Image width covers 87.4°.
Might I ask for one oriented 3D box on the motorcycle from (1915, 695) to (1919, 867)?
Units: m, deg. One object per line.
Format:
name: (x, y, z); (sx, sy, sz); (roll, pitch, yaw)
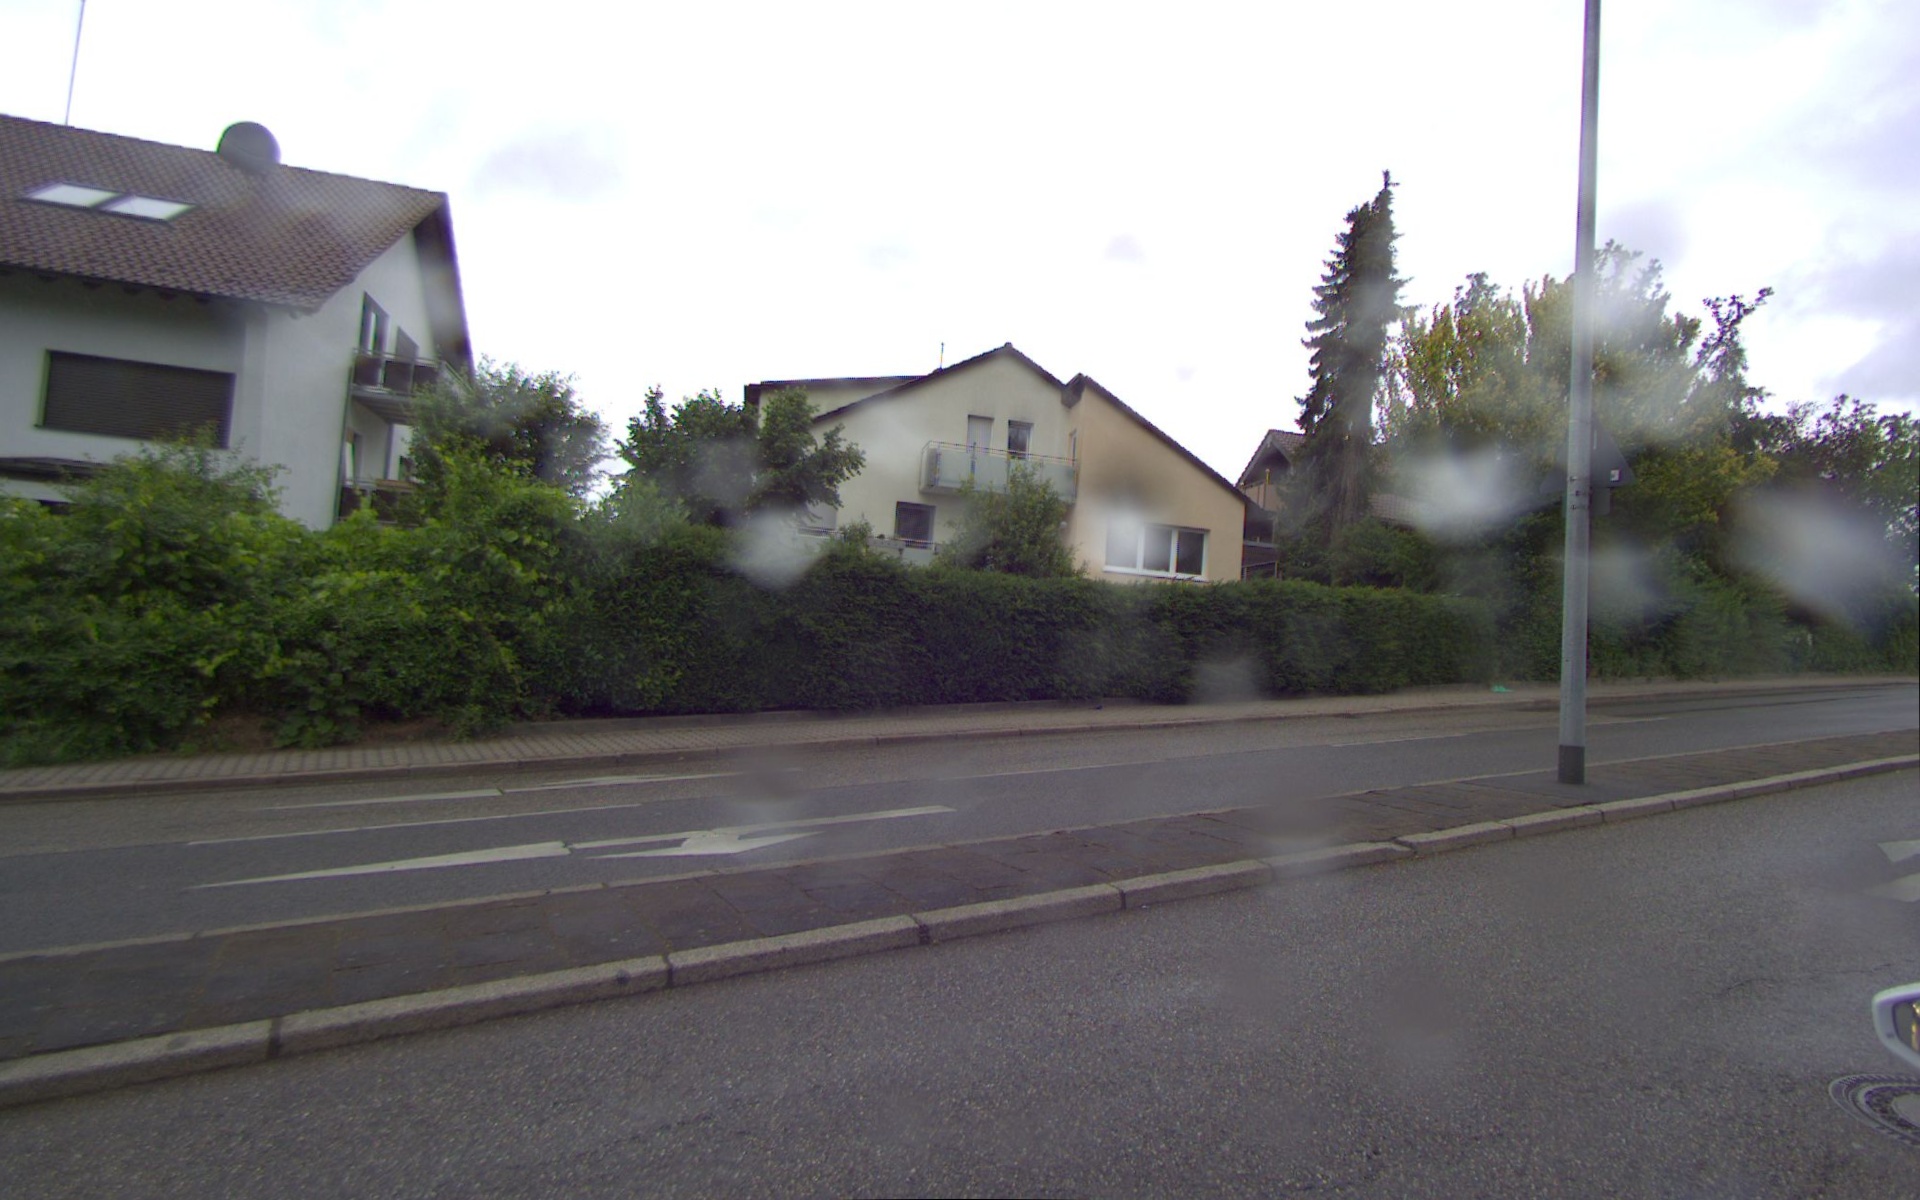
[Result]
motorcycle: (6.886, 1.171, 6.412); (1.727, 1.067, 0.687); (3, -1, -30)

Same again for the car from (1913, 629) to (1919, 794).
car: (11.031, 1.063, 9.449); (4.280, 1.547, 1.983); (2, -4, -32)
